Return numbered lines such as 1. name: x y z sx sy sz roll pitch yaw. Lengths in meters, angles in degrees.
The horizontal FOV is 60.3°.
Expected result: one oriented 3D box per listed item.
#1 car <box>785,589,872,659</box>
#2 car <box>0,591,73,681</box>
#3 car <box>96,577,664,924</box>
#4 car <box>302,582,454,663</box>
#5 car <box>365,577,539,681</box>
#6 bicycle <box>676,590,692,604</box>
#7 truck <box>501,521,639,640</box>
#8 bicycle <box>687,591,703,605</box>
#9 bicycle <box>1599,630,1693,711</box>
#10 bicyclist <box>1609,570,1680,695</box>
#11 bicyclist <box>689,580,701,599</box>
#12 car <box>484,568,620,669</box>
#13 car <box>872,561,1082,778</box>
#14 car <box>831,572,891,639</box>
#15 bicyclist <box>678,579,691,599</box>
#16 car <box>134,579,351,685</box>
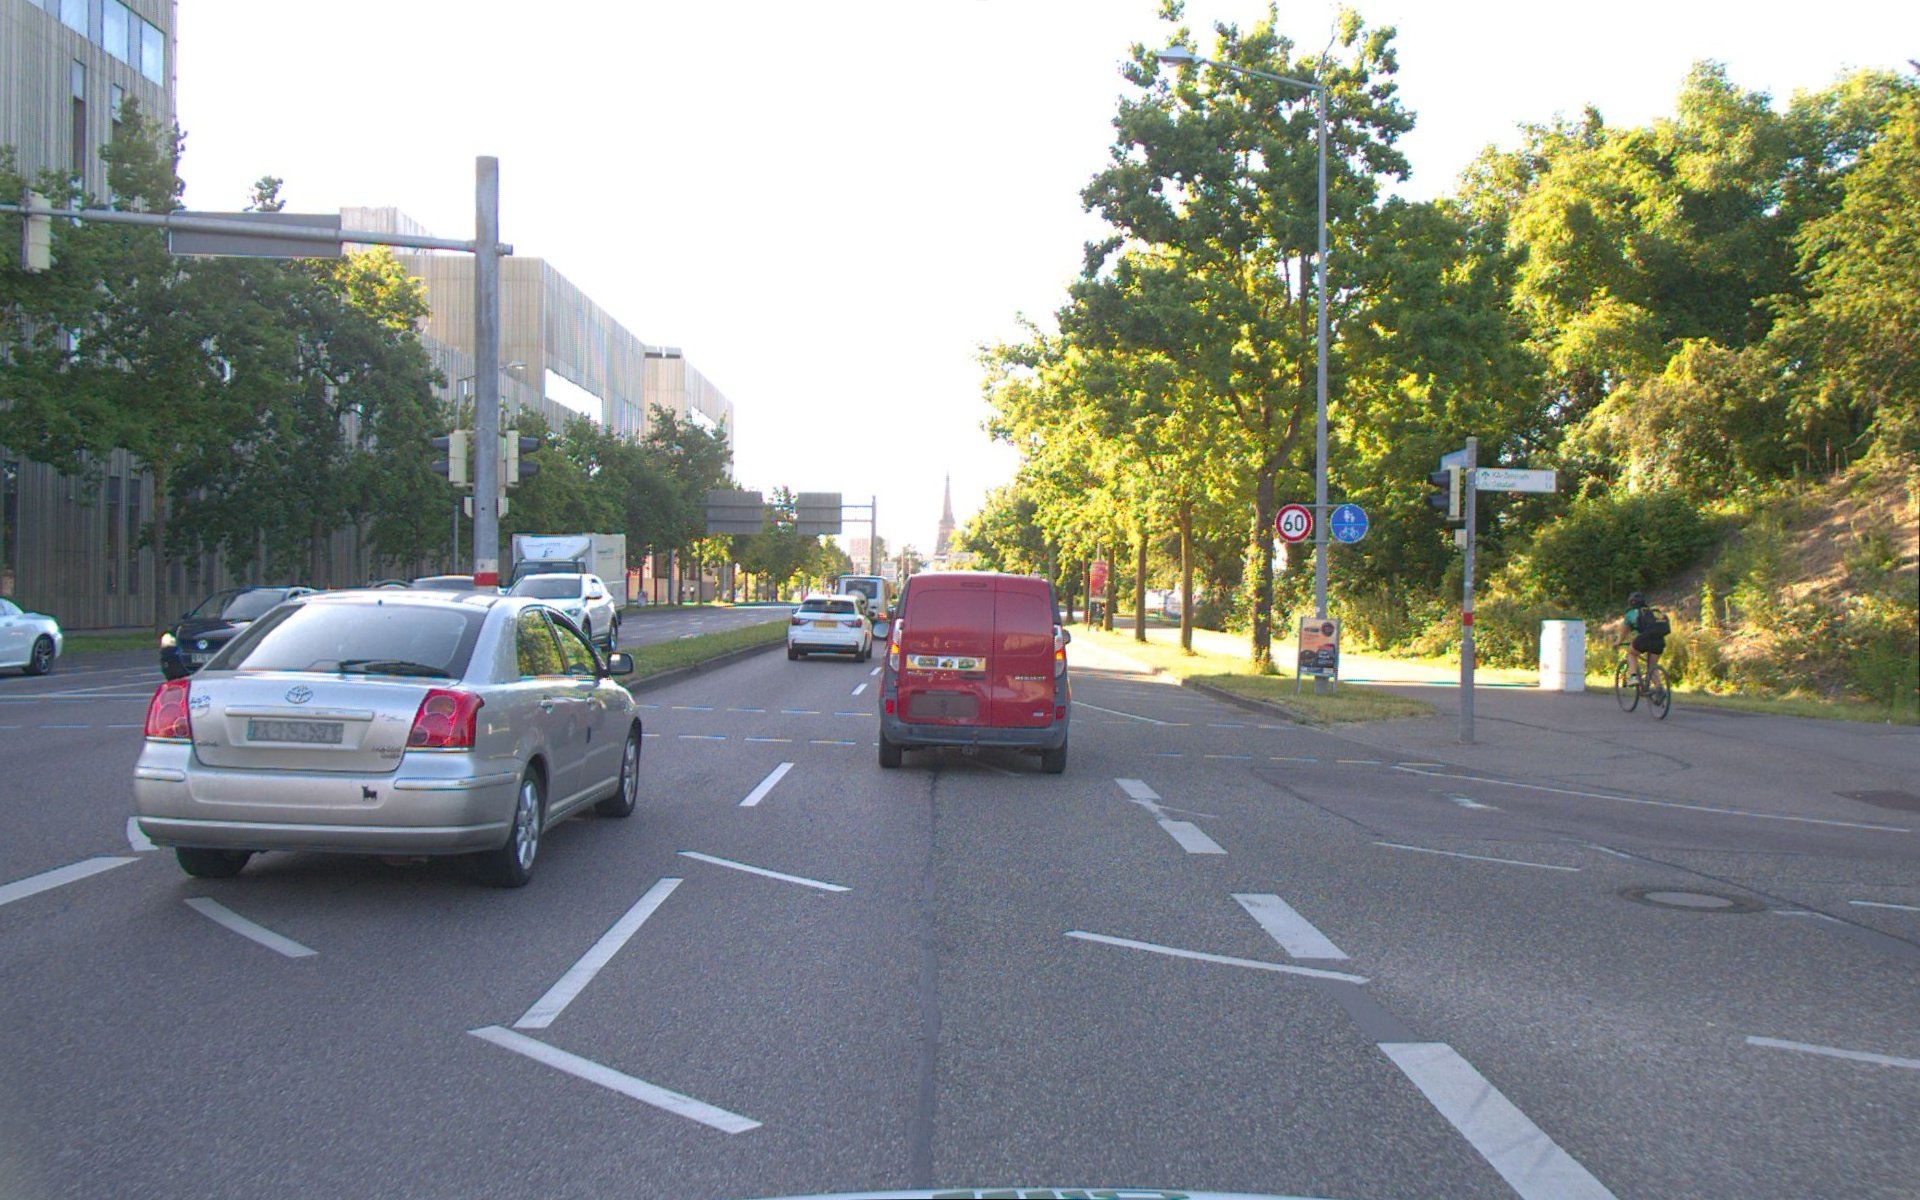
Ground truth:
1. car: -2.898 0.508 37.041 1.777 1.463 3.729 1 0 -3
2. car: -16.622 0.614 27.184 1.655 1.469 4.559 -2 0 -1
3. car: -2.935 0.670 9.439 1.698 1.506 4.318 1 0 0
4. car: -11.443 0.425 32.789 1.603 1.469 4.076 -2 0 -1
5. car: -7.879 0.424 25.952 1.603 1.469 3.718 -2 0 -1
6. bicycle: -25.729 -0.243 154.215 0.891 1.220 3.300 2 -1 0
7. truck: -10.914 -0.508 46.902 2.360 3.079 6.655 -2 0 -1
8. bicycle: -24.725 -0.213 154.235 0.891 1.220 3.300 2 -1 0
9. bicycle: 9.285 0.944 22.439 0.579 1.041 1.751 2 -1 2
10. bicyclist: 9.283 0.447 22.443 0.579 1.642 0.942 1 -2 2
11. bicyclist: -24.711 -1.017 154.254 0.891 1.715 1.408 2 -1 0
12. car: -8.055 0.356 32.970 1.721 1.828 4.082 -2 0 -1
13. car: 0.082 0.567 16.296 1.768 1.825 3.999 2 1 -2
14. car: -3.180 0.231 53.686 1.764 2.023 4.587 2 -1 -2
15. bicyclist: -25.695 -1.055 154.210 0.891 1.797 1.396 2 -1 0
16. car: -10.992 0.459 25.643 1.603 1.469 4.076 -2 0 -1
